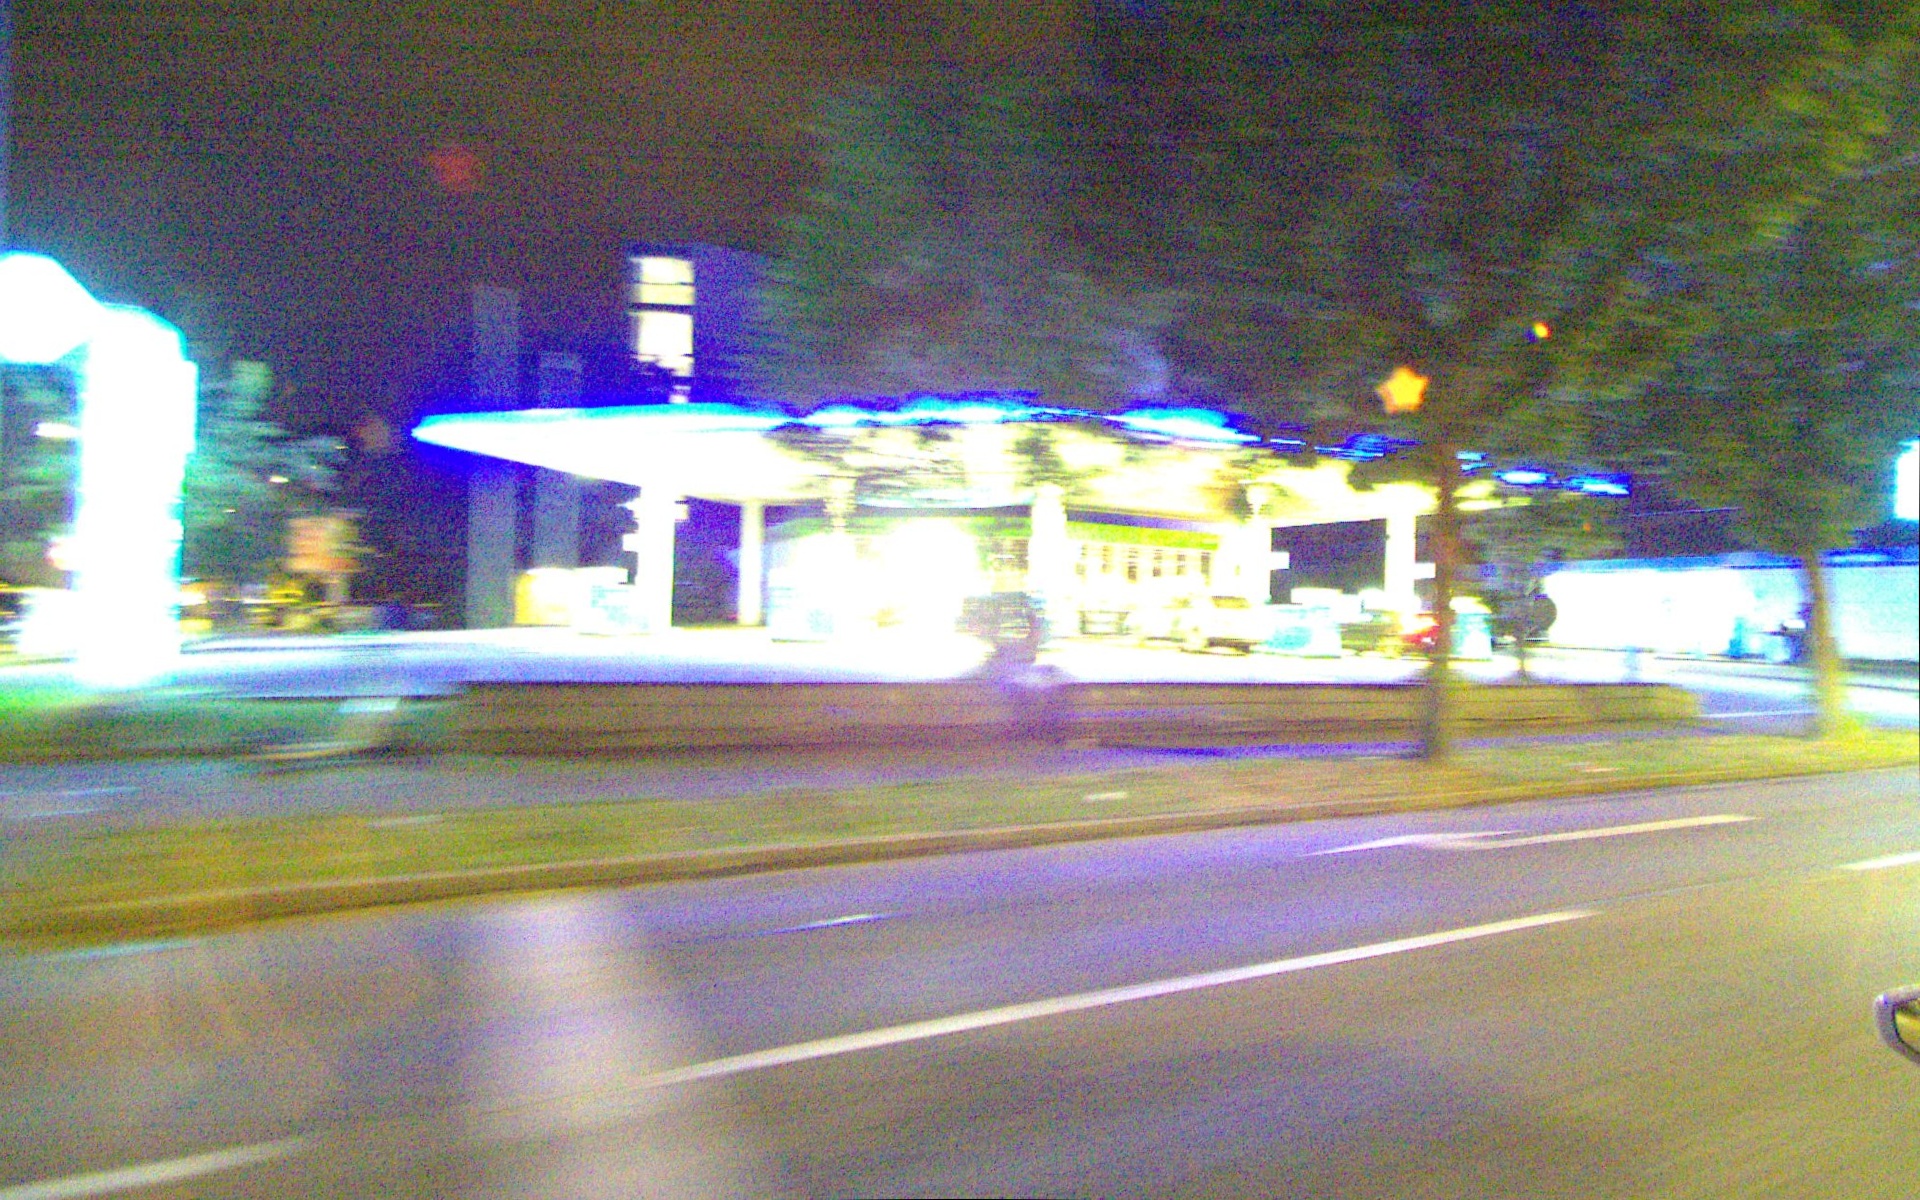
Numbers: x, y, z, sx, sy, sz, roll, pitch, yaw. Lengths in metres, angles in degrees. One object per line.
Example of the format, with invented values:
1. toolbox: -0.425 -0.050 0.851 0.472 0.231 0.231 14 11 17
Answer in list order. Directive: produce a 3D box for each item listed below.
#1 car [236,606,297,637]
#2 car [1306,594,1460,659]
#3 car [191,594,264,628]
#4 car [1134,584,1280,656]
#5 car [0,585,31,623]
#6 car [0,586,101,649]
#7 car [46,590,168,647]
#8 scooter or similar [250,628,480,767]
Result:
1. car: -37.859 1.174 54.967 1.972 1.540 3.977 2 -2 -24
2. car: 12.969 0.782 31.040 1.975 1.686 3.970 2 1 -28
3. car: -35.103 0.550 48.225 1.972 1.540 3.977 2 -2 -24
4. car: 7.085 0.539 29.330 1.971 1.793 4.227 2 1 -22
5. car: -39.333 0.145 40.227 1.973 1.521 3.975 2 -2 -25
6. car: -25.009 0.441 26.843 1.973 1.536 3.976 3 -1 -24
7. car: -26.882 0.577 31.826 1.974 1.617 3.973 3 -1 -27
8. scooter or similar: -5.368 0.827 9.178 0.703 1.106 1.679 1 0 27
